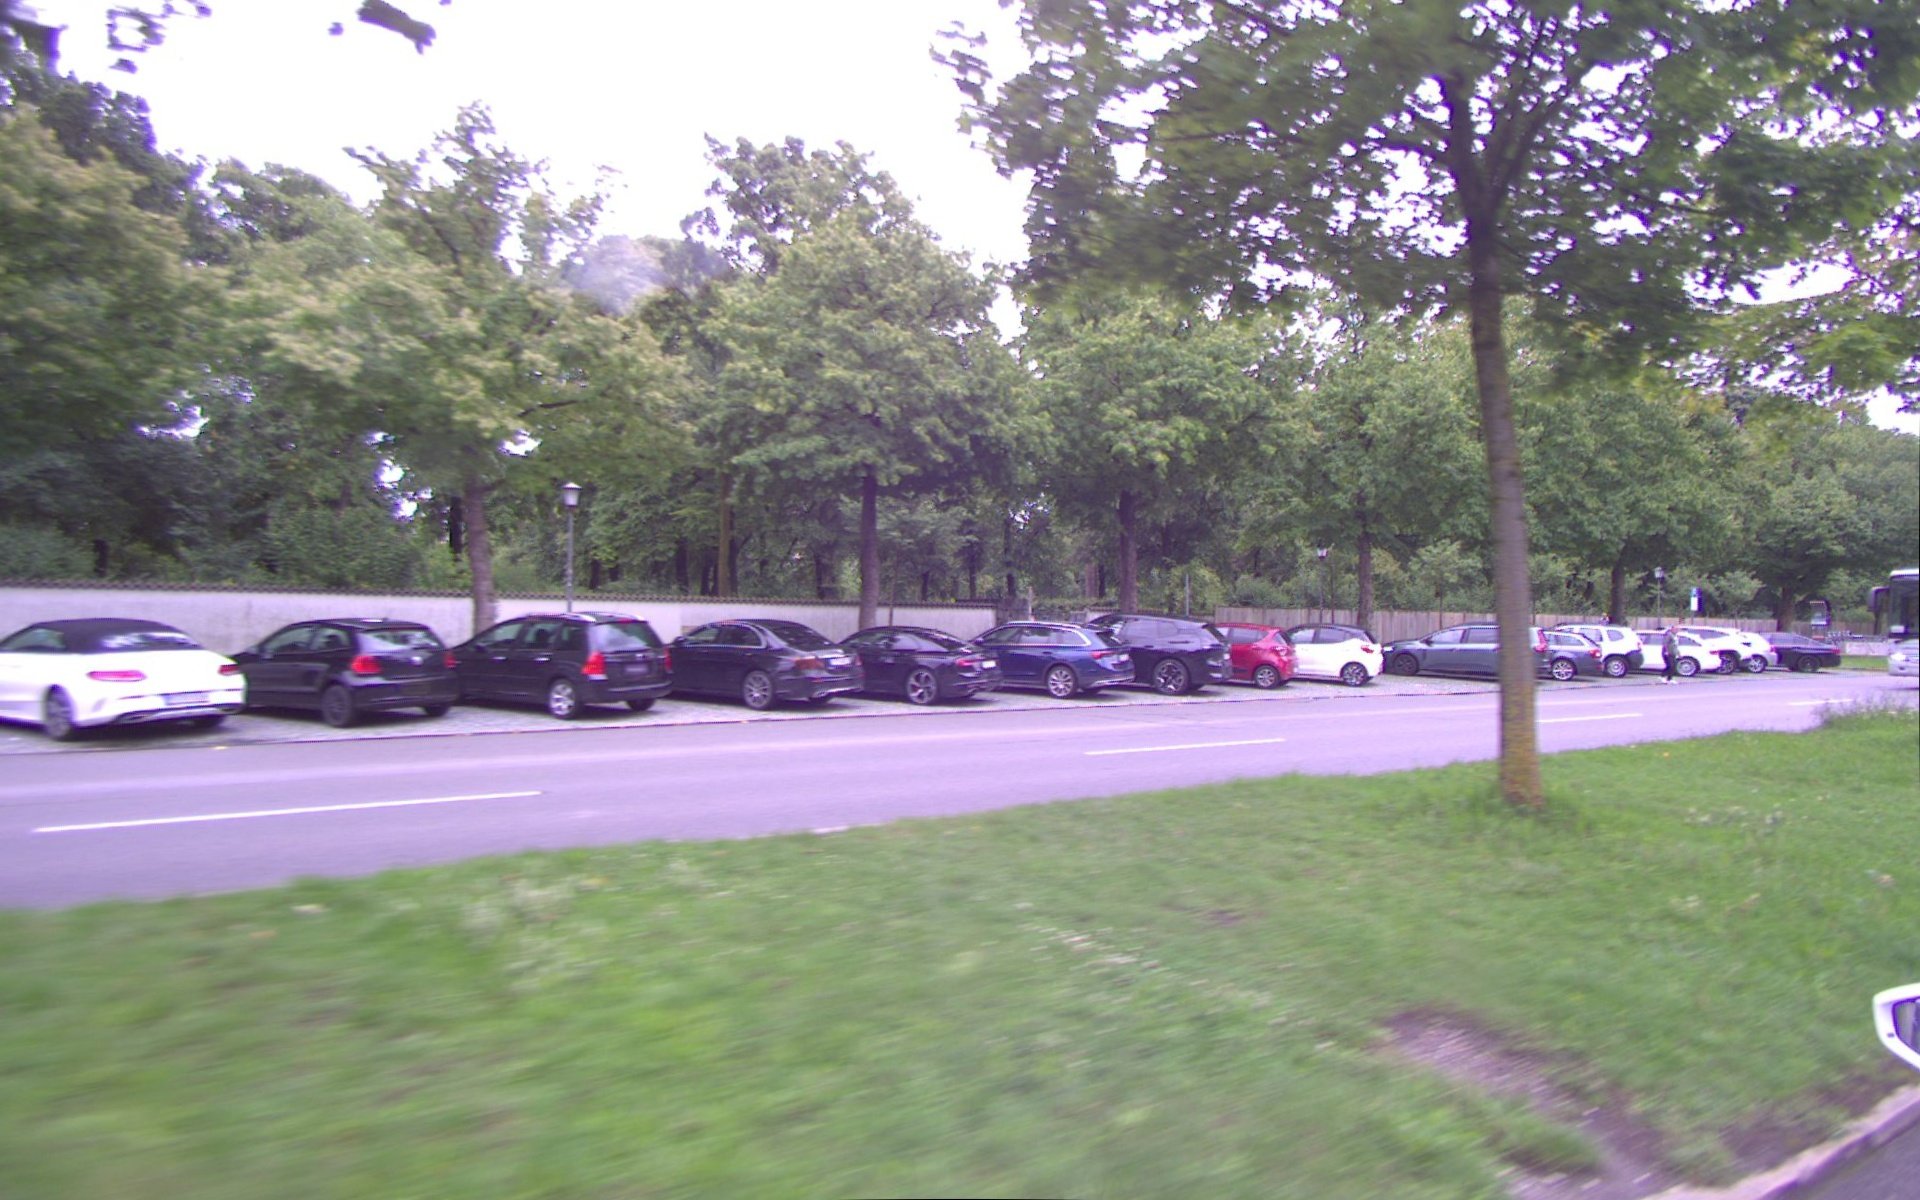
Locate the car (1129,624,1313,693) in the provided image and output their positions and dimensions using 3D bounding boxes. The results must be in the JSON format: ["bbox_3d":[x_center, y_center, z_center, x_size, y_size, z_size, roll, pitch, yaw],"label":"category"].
[{"bbox_3d":[6.431,1.370,24.779,4.035,1.521,1.915,0,-1,31],"label":"car"}]

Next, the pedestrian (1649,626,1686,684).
[{"bbox_3d":[20.524,1.575,29.135,0.674,1.633,0.719,1,-1,-37],"label":"pedestrian"}]

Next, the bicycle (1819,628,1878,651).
[{"bbox_3d":[51.236,2.269,57.973,0.646,1.159,2.490,1,1,-27],"label":"bicycle"}]

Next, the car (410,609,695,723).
[{"bbox_3d":[-6.527,0.982,16.149,4.028,1.618,1.919,0,-1,22],"label":"car"}]

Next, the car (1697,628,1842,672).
[{"bbox_3d":[30.888,1.879,38.475,4.032,1.493,1.703,1,0,28],"label":"car"}]

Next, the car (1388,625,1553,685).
[{"bbox_3d":[14.734,1.528,29.051,4.113,1.563,1.915,0,-1,31],"label":"car"}]

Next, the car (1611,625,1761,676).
[{"bbox_3d":[25.526,1.736,35.480,4.032,1.674,1.917,0,-1,28],"label":"car"}]

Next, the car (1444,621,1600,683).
[{"bbox_3d":[17.021,1.531,30.626,4.032,1.718,1.917,0,-1,28],"label":"car"}]

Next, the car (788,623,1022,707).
[{"bbox_3d":[-1.068,1.181,19.425,4.121,1.428,1.917,0,-1,28],"label":"car"}]

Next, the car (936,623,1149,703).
[{"bbox_3d":[1.725,1.252,21.024,4.032,1.489,1.917,0,-1,28],"label":"car"}]

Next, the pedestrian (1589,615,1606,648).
[{"bbox_3d":[31.388,1.553,49.446,0.668,1.633,0.691,0,-1,30],"label":"pedestrian"}]

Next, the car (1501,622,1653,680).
[{"bbox_3d":[19.743,1.579,32.346,4.032,1.718,1.917,0,-1,28],"label":"car"}]

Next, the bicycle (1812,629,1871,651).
[{"bbox_3d":[50.548,2.282,57.619,0.593,1.159,2.490,1,1,-27],"label":"bicycle"}]

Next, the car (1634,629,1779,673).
[{"bbox_3d":[27.644,1.861,37.368,4.032,1.493,1.917,0,-1,28],"label":"car"}]

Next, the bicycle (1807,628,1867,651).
[{"bbox_3d":[49.957,2.244,57.266,0.698,1.159,2.490,1,1,-27],"label":"bicycle"}]

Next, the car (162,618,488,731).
[{"bbox_3d":[-9.362,1.017,14.868,4.157,1.441,1.919,0,-1,20],"label":"car"}]

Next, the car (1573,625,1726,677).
[{"bbox_3d":[23.051,1.660,33.782,4.032,1.606,1.917,0,-1,28],"label":"car"}]

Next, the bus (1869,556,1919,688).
[{"bbox_3d":[30.296,0.666,28.715,11.867,3.422,2.727,1,-2,-29],"label":"bus"}]

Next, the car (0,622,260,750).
[{"bbox_3d":[-11.221,1.022,13.108,3.967,1.400,1.673,0,-1,25],"label":"car"}]

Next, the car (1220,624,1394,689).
[{"bbox_3d":[9.080,1.421,26.360,4.035,1.521,1.915,0,-1,31],"label":"car"}]

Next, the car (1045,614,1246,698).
[{"bbox_3d":[4.132,1.181,22.449,4.032,1.702,1.917,0,-1,28],"label":"car"}]

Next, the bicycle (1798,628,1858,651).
[{"bbox_3d":[49.076,2.227,56.821,0.714,1.159,2.490,1,1,-27],"label":"bicycle"}]

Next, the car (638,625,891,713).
[{"bbox_3d":[-3.493,1.154,17.863,4.125,1.340,1.917,0,-1,28],"label":"car"}]
